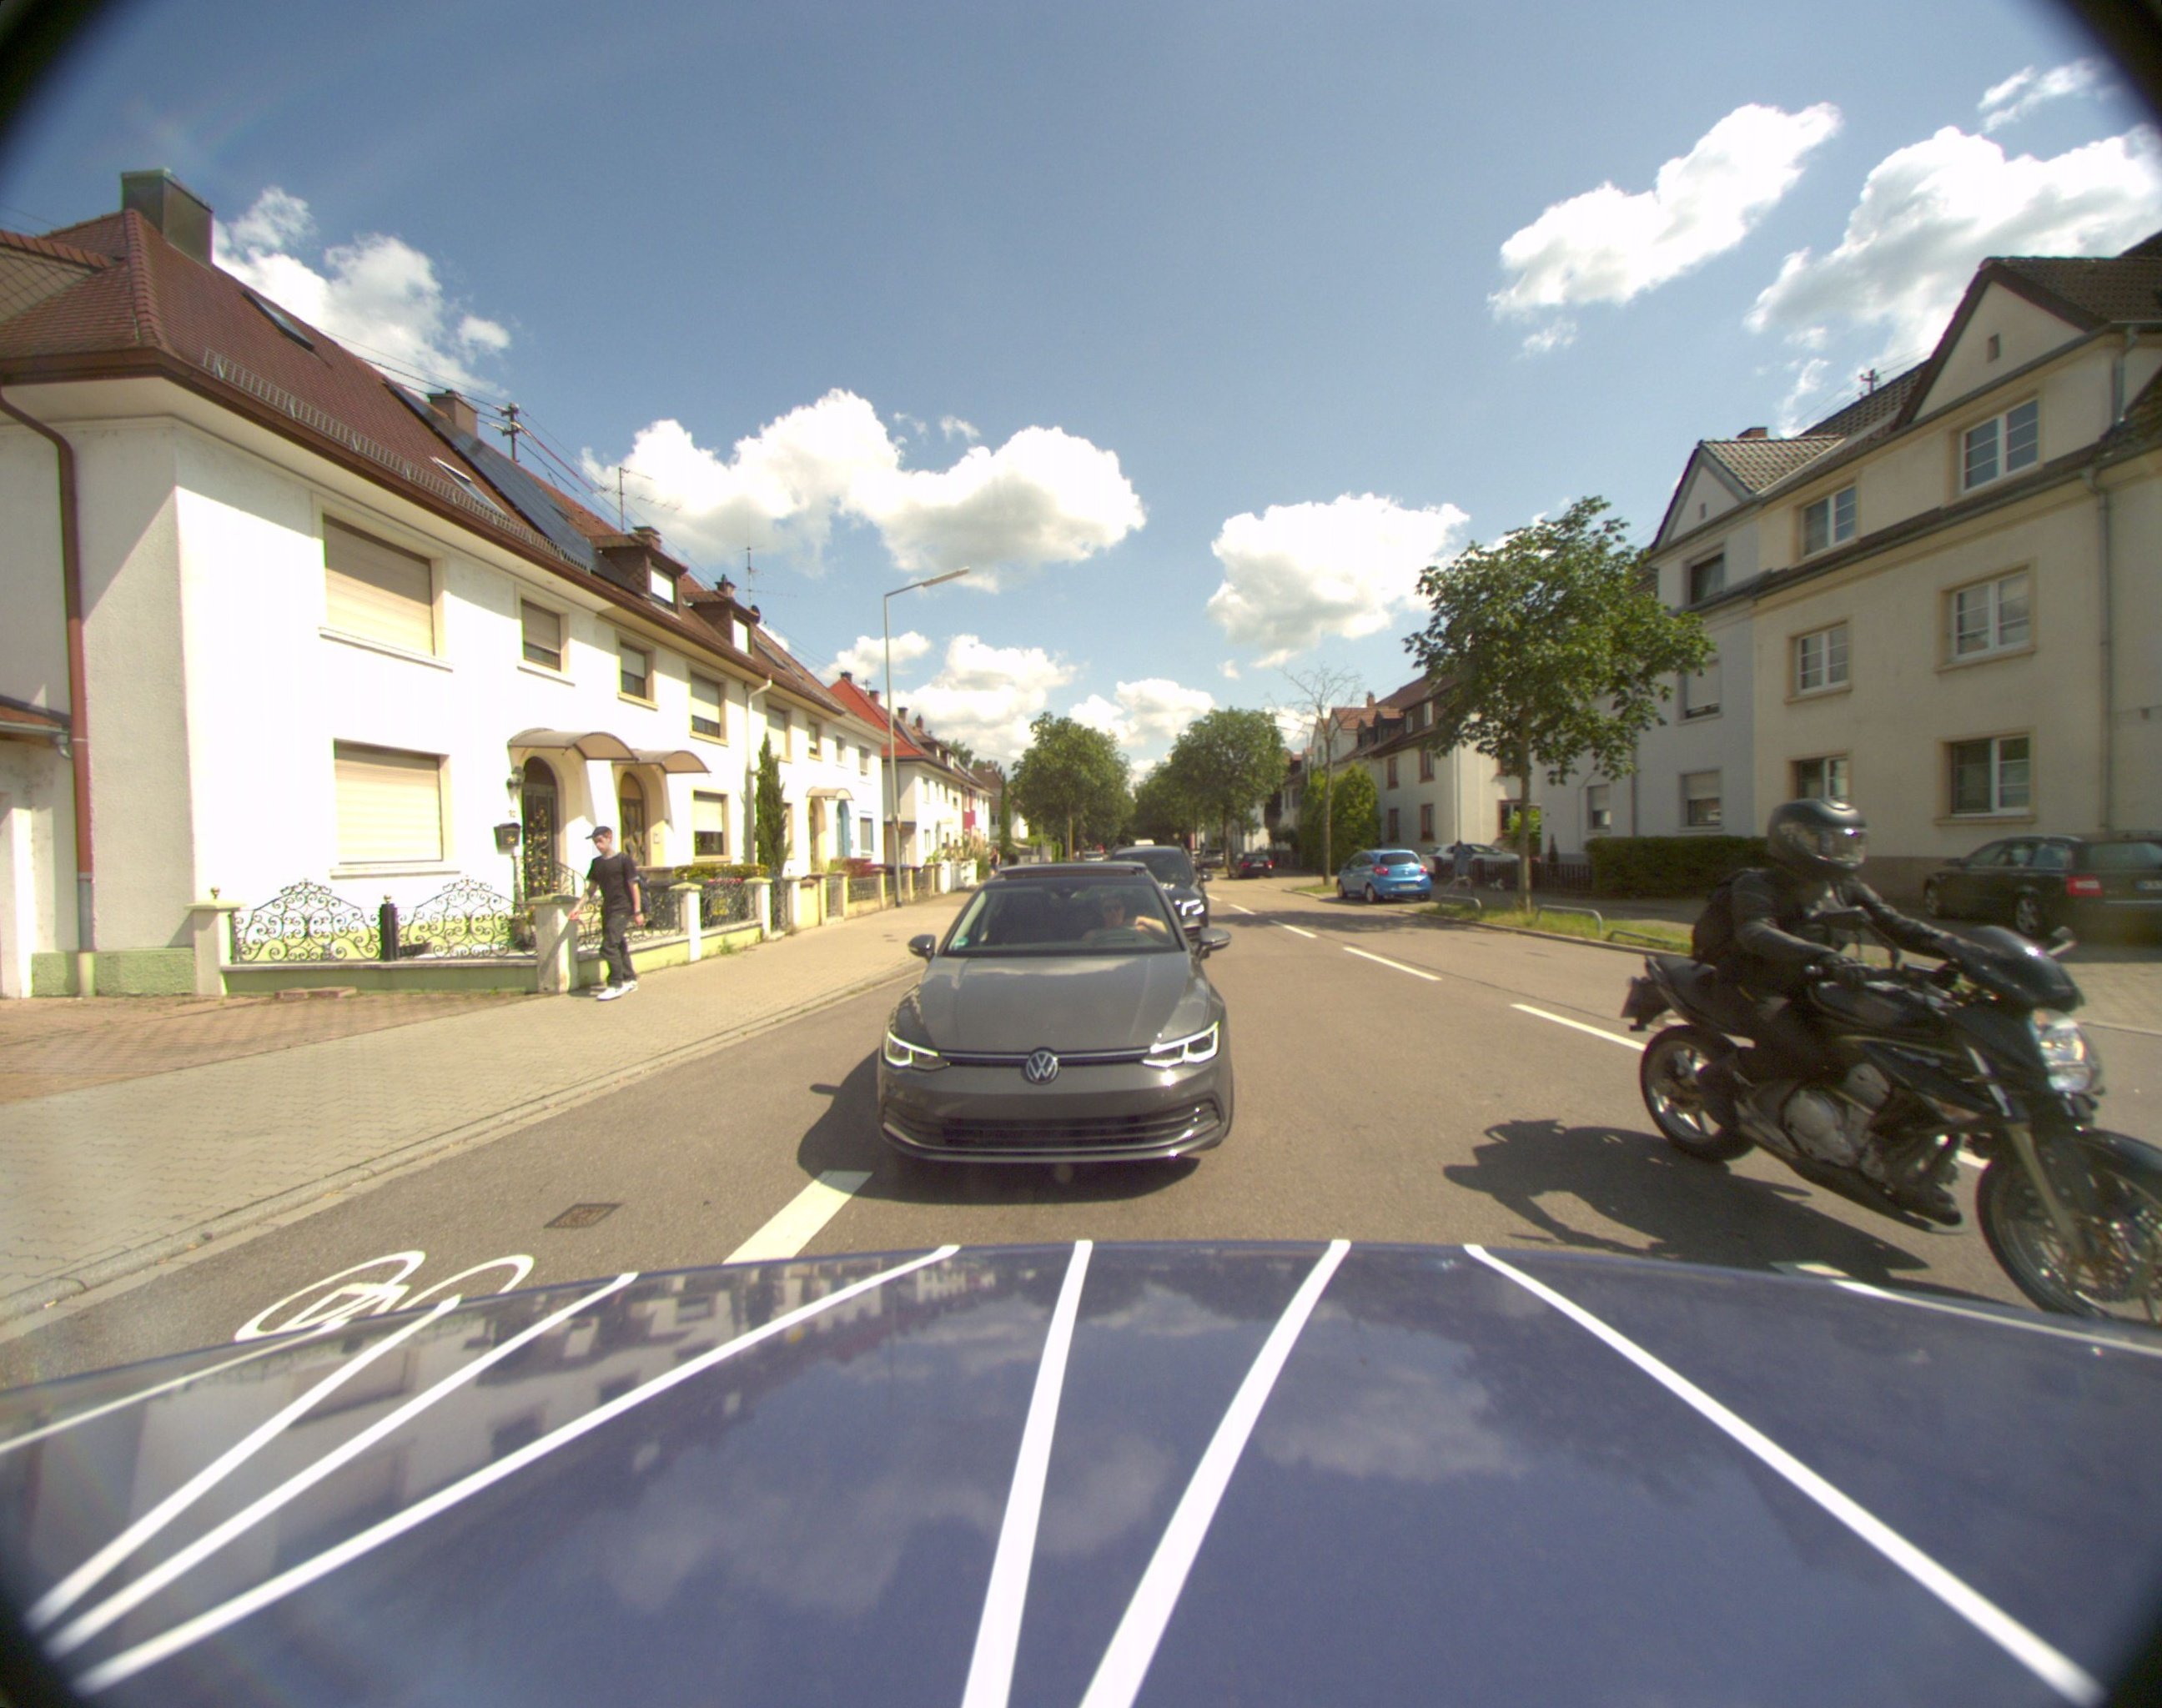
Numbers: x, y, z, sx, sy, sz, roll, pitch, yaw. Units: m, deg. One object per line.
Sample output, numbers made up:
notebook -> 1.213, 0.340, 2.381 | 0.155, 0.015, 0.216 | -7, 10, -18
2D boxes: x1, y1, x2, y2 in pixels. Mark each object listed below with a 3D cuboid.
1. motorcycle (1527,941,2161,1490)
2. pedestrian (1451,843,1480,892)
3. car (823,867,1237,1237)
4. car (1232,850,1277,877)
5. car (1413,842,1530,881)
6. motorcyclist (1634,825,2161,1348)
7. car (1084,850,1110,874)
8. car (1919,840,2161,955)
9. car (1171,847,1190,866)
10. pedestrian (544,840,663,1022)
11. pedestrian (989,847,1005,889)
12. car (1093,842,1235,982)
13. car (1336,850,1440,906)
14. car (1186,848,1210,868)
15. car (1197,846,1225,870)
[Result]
motorcycle -> 2.894, 1.015, 2.653 | 0.844, 1.121, 2.355 | -1, 1, -17
pedestrian -> 12.198, 0.418, 24.110 | 0.632, 1.527, 0.618 | -1, 1, 2
car -> -0.250, 0.898, 5.642 | 1.766, 1.465, 4.686 | -1, 0, -1
car -> 8.954, 0.472, 39.475 | 1.709, 1.289, 3.918 | -1, 0, 4
car -> 15.635, 0.296, 30.567 | 3.805, 1.446, 1.711 | -1, 1, 4
motorcyclist -> 2.852, 0.641, 2.697 | 0.826, 1.390, 1.099 | -2, -2, -16
car -> 1.075, 0.486, 49.947 | 1.381, 1.493, 3.002 | -2, 0, 6
car -> 14.242, 0.506, 10.979 | 1.757, 1.378, 4.110 | -1, 1, 31
car -> 8.940, 0.231, 68.485 | 1.562, 1.645, 3.252 | -1, 0, 4
pedestrian -> -4.867, 0.740, 7.802 | 0.592, 1.757, 0.937 | -1, 1, 1
pedestrian -> -3.463, 0.569, 31.360 | 0.519, 1.701, 0.618 | -1, 1, 2
car -> 1.114, 0.726, 12.097 | 1.776, 1.754, 4.874 | -1, 0, 1
car -> 8.625, 0.630, 21.638 | 1.709, 1.454, 3.154 | -1, 0, 1
car -> 9.129, 0.284, 59.442 | 1.623, 1.417, 3.002 | -2, 0, 6
car -> 9.121, 0.266, 53.417 | 1.562, 1.645, 3.574 | -1, 0, 4
